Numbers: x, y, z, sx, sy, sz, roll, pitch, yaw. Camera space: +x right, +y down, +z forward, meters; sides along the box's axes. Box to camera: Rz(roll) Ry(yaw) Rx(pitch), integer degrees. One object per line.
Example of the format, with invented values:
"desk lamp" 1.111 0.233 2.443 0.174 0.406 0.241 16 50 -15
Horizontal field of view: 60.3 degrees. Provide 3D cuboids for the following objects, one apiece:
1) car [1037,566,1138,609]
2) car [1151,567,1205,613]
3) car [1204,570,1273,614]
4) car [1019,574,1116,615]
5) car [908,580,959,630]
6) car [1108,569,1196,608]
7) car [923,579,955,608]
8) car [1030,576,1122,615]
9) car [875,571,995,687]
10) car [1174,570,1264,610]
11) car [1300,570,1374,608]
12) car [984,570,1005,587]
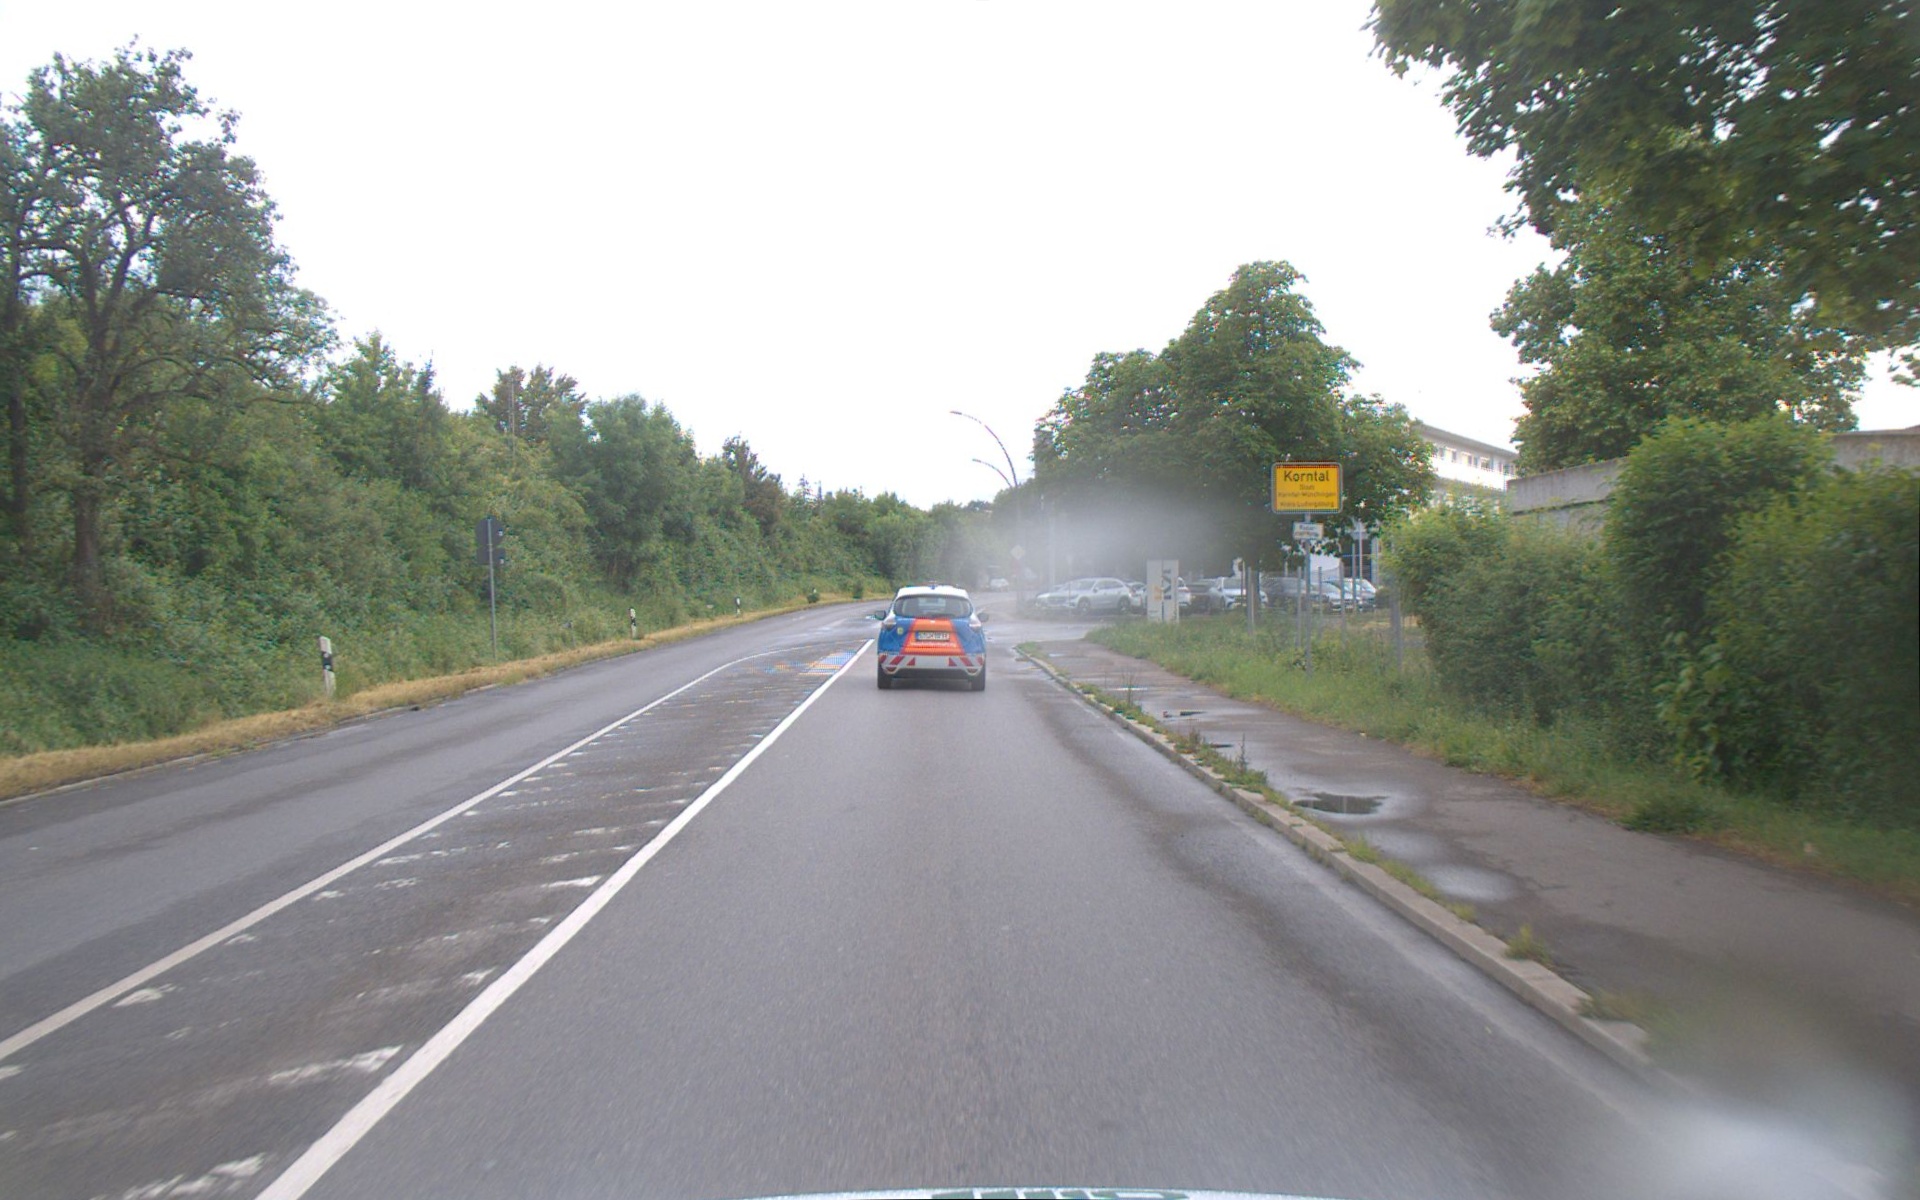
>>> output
"car" 5.693 -0.524 73.366 2.001 1.782 4.587 1 0 44
"car" 9.227 -0.392 70.150 1.788 1.861 4.264 1 0 1
"car" 11.863 -0.336 70.691 1.898 1.782 4.615 1 0 -3
"car" 5.014 -0.207 76.674 2.001 1.782 4.587 -1 -2 44
"car" -0.922 0.154 56.676 1.659 1.623 3.855 1 0 -1
"car" 9.092 -0.574 78.156 1.896 1.781 4.593 1 1 41
"car" -1.317 -0.387 107.277 1.658 1.822 3.858 1 0 5
"car" 5.709 -0.190 81.116 4.572 1.782 1.782 1 -2 -39
"car" -0.418 0.442 26.798 1.769 1.697 3.855 1 0 -1
"car" 12.155 -0.477 77.363 1.898 1.781 4.587 1 1 44
"car" 17.145 -0.500 75.353 1.620 1.630 4.607 1 0 -10
"car" 3.927 -2.399 187.152 1.658 1.822 3.859 1 0 11
